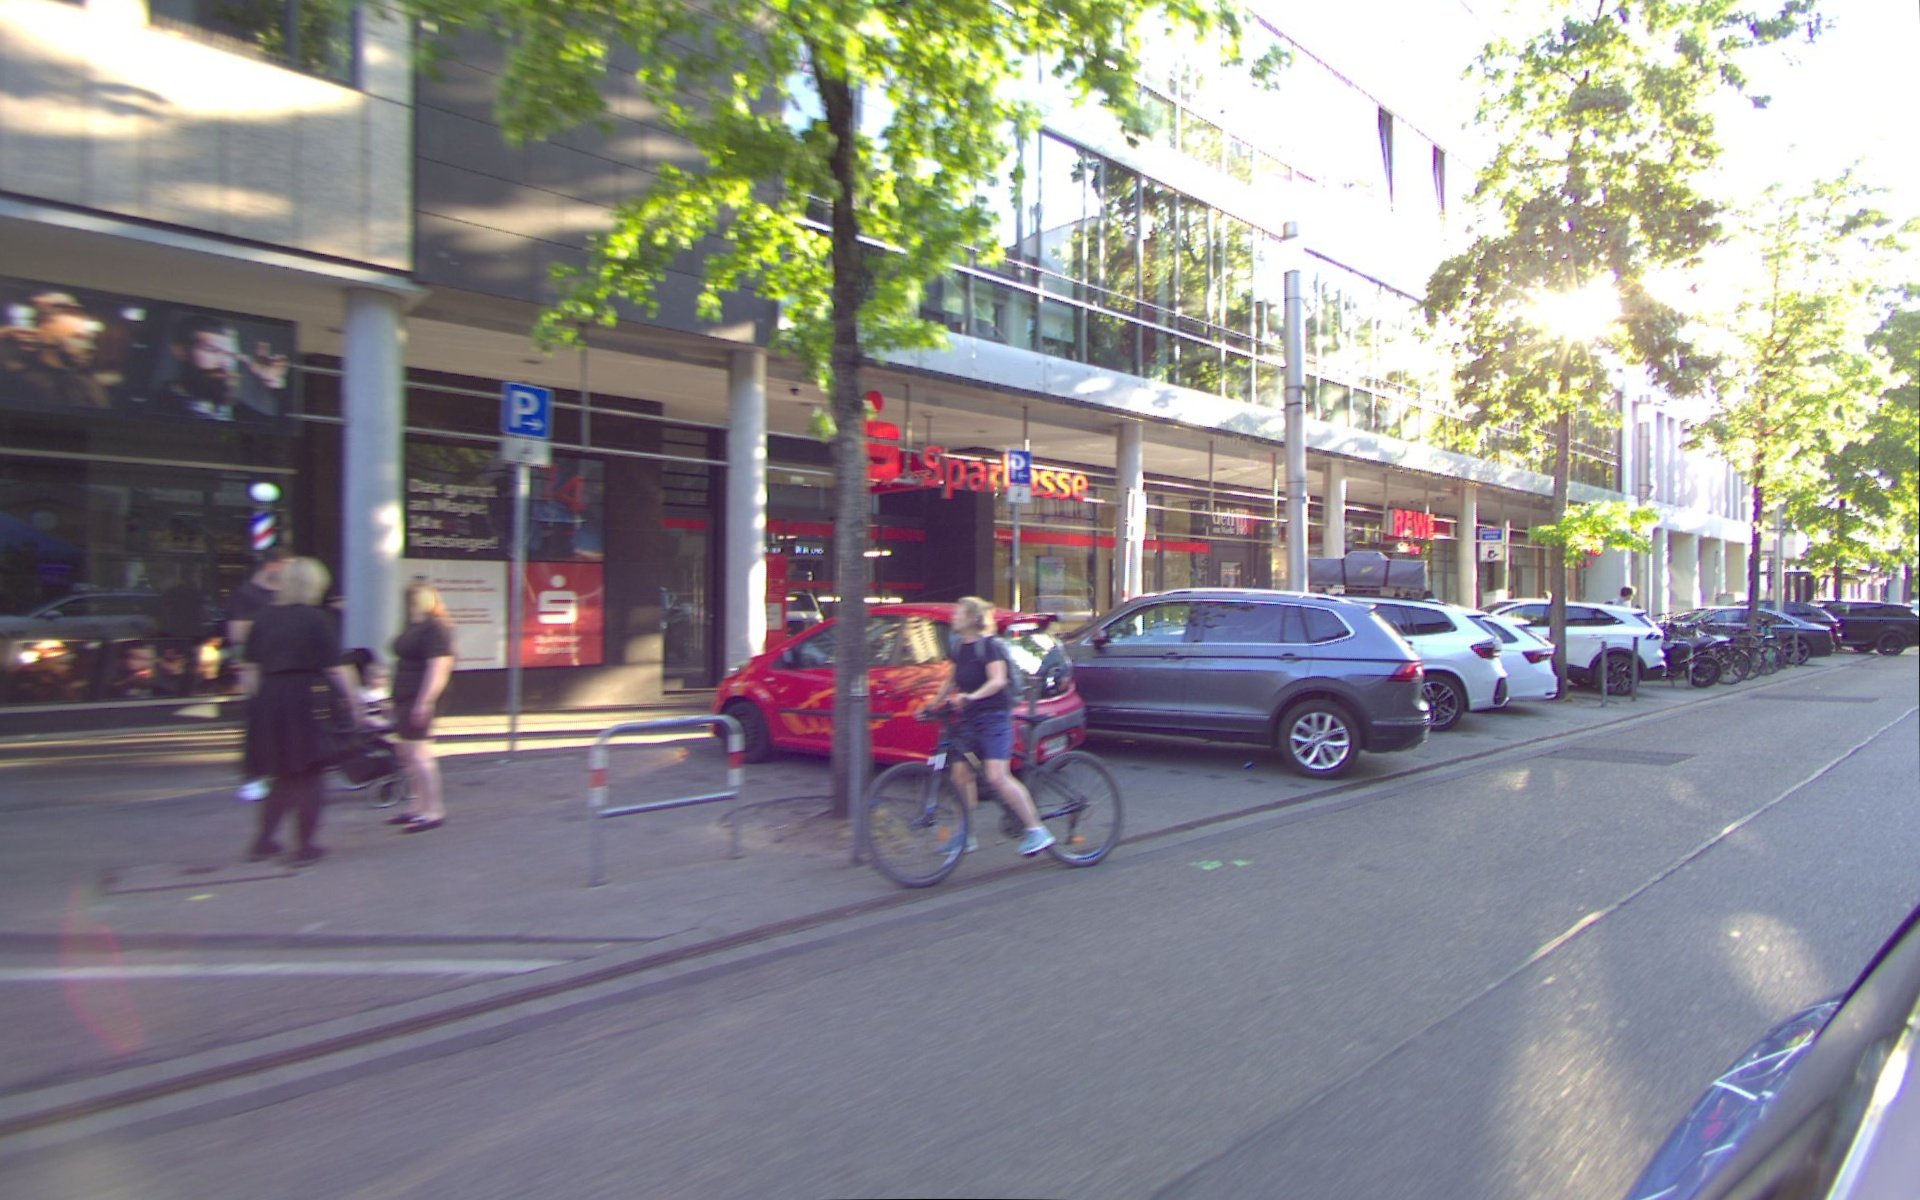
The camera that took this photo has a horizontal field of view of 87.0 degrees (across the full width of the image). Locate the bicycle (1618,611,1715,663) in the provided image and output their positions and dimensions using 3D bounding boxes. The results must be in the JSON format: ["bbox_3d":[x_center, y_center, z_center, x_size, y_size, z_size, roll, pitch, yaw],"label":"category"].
[{"bbox_3d":[16.440,0.846,23.592,1.653,1.088,0.728,3,1,19],"label":"bicycle"}]

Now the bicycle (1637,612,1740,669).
[{"bbox_3d":[16.071,0.878,22.366,1.676,1.119,0.627,3,3,23],"label":"bicycle"}]

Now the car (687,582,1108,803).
[{"bbox_3d":[-0.582,0.653,8.972,3.370,1.499,1.650,3,2,30],"label":"car"}]

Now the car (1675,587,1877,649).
[{"bbox_3d":[25.970,0.527,32.447,4.619,1.675,1.991,3,2,26],"label":"car"}]

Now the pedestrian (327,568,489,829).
[{"bbox_3d":[-3.520,0.595,6.493,0.677,1.571,0.607,2,1,2],"label":"pedestrian"}]

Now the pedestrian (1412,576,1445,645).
[{"bbox_3d":[12.350,0.268,26.669,0.515,1.772,0.558,0,2,-41],"label":"pedestrian"}]

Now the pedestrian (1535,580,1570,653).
[{"bbox_3d":[14.299,0.385,24.440,0.677,1.718,0.543,0,-1,37],"label":"pedestrian"}]

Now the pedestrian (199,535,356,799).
[{"bbox_3d":[-4.782,0.439,7.128,0.621,1.753,0.689,2,1,1],"label":"pedestrian"}]

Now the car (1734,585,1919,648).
[{"bbox_3d":[29.088,0.505,33.821,4.609,1.785,1.982,3,2,20],"label":"car"}]

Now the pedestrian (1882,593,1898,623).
[{"bbox_3d":[58.322,0.497,63.486,0.624,1.854,0.689,0,0,-42],"label":"pedestrian"}]

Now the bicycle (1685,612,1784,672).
[{"bbox_3d":[16.440,0.880,21.504,1.662,1.177,0.481,2,2,-1],"label":"bicycle"}]

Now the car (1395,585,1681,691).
[{"bbox_3d":[10.277,0.615,18.364,4.102,1.590,1.845,2,2,16],"label":"car"}]

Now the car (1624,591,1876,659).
[{"bbox_3d":[21.490,0.645,27.793,4.986,1.487,1.970,3,2,14],"label":"car"}]

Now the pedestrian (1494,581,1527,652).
[{"bbox_3d":[13.495,0.388,24.812,0.540,1.718,0.518,0,-1,-37],"label":"pedestrian"}]

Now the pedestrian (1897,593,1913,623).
[{"bbox_3d":[58.788,0.475,62.952,0.624,1.854,0.706,0,0,-42],"label":"pedestrian"}]

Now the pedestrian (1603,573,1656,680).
[{"bbox_3d":[12.572,0.475,19.004,0.651,1.942,0.584,0,2,-39],"label":"pedestrian"}]

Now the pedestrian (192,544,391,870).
[{"bbox_3d":[-3.697,0.556,5.652,0.682,1.706,0.682,1,1,-8],"label":"pedestrian"}]

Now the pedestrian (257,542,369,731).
[{"bbox_3d":[-6.570,0.347,10.280,0.833,1.807,0.781,0,0,-42],"label":"pedestrian"}]

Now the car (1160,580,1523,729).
[{"bbox_3d":[4.914,0.613,13.514,4.193,1.607,1.874,2,2,18],"label":"car"}]

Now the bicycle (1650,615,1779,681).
[{"bbox_3d":[14.899,0.928,20.043,1.873,1.133,0.663,2,2,21],"label":"bicycle"}]

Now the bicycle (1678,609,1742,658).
[{"bbox_3d":[18.996,0.829,25.681,0.543,1.121,1.843,2,2,13],"label":"bicycle"}]

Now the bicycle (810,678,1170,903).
[{"bbox_3d":[0.209,1.021,5.910,2.018,1.008,0.721,0,-2,-31],"label":"bicycle"}]

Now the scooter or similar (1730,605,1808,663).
[{"bbox_3d":[19.790,0.817,24.787,1.289,1.291,0.561,4,3,18],"label":"scooter or similar"}]

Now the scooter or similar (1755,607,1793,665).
[{"bbox_3d":[19.268,0.830,23.950,1.284,1.291,0.451,0,4,-43],"label":"scooter or similar"}]

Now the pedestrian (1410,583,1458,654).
[{"bbox_3d":[11.301,0.426,24.117,0.867,1.644,0.715,0,1,-40],"label":"pedestrian"}]

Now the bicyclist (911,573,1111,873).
[{"bbox_3d":[0.294,0.676,6.085,0.894,1.634,0.780,0,-2,-31],"label":"bicyclist"}]

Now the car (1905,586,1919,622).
[{"bbox_3d":[50.475,0.236,52.296,4.824,1.759,2.026,0,3,-43],"label":"car"}]

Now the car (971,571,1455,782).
[{"bbox_3d":[2.419,0.617,10.156,4.299,1.672,1.685,2,2,18],"label":"car"}]

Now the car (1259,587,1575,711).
[{"bbox_3d":[6.819,0.646,15.407,4.118,1.517,1.674,3,2,26],"label":"car"}]

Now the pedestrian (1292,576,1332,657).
[{"bbox_3d":[7.904,0.355,22.740,0.589,1.765,0.625,0,1,-42],"label":"pedestrian"}]

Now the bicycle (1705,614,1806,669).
[{"bbox_3d":[18.057,0.917,23.012,1.543,1.102,0.864,3,1,19],"label":"bicycle"}]

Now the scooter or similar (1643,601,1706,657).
[{"bbox_3d":[18.301,0.720,25.958,0.622,1.309,1.675,2,2,11],"label":"scooter or similar"}]

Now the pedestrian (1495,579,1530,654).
[{"bbox_3d":[13.480,0.392,24.710,0.549,1.772,0.524,0,2,-39],"label":"pedestrian"}]

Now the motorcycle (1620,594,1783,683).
[{"bbox_3d":[13.902,0.709,19.045,2.278,1.528,0.858,2,2,6],"label":"motorcycle"}]

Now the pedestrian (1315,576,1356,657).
[{"bbox_3d":[8.406,0.352,22.664,0.589,1.765,0.625,0,1,-43],"label":"pedestrian"}]

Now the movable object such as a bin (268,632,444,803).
[{"bbox_3d":[-4.226,0.798,7.125,0.818,1.077,0.689,2,2,1],"label":"movable object such as a bin"}]
